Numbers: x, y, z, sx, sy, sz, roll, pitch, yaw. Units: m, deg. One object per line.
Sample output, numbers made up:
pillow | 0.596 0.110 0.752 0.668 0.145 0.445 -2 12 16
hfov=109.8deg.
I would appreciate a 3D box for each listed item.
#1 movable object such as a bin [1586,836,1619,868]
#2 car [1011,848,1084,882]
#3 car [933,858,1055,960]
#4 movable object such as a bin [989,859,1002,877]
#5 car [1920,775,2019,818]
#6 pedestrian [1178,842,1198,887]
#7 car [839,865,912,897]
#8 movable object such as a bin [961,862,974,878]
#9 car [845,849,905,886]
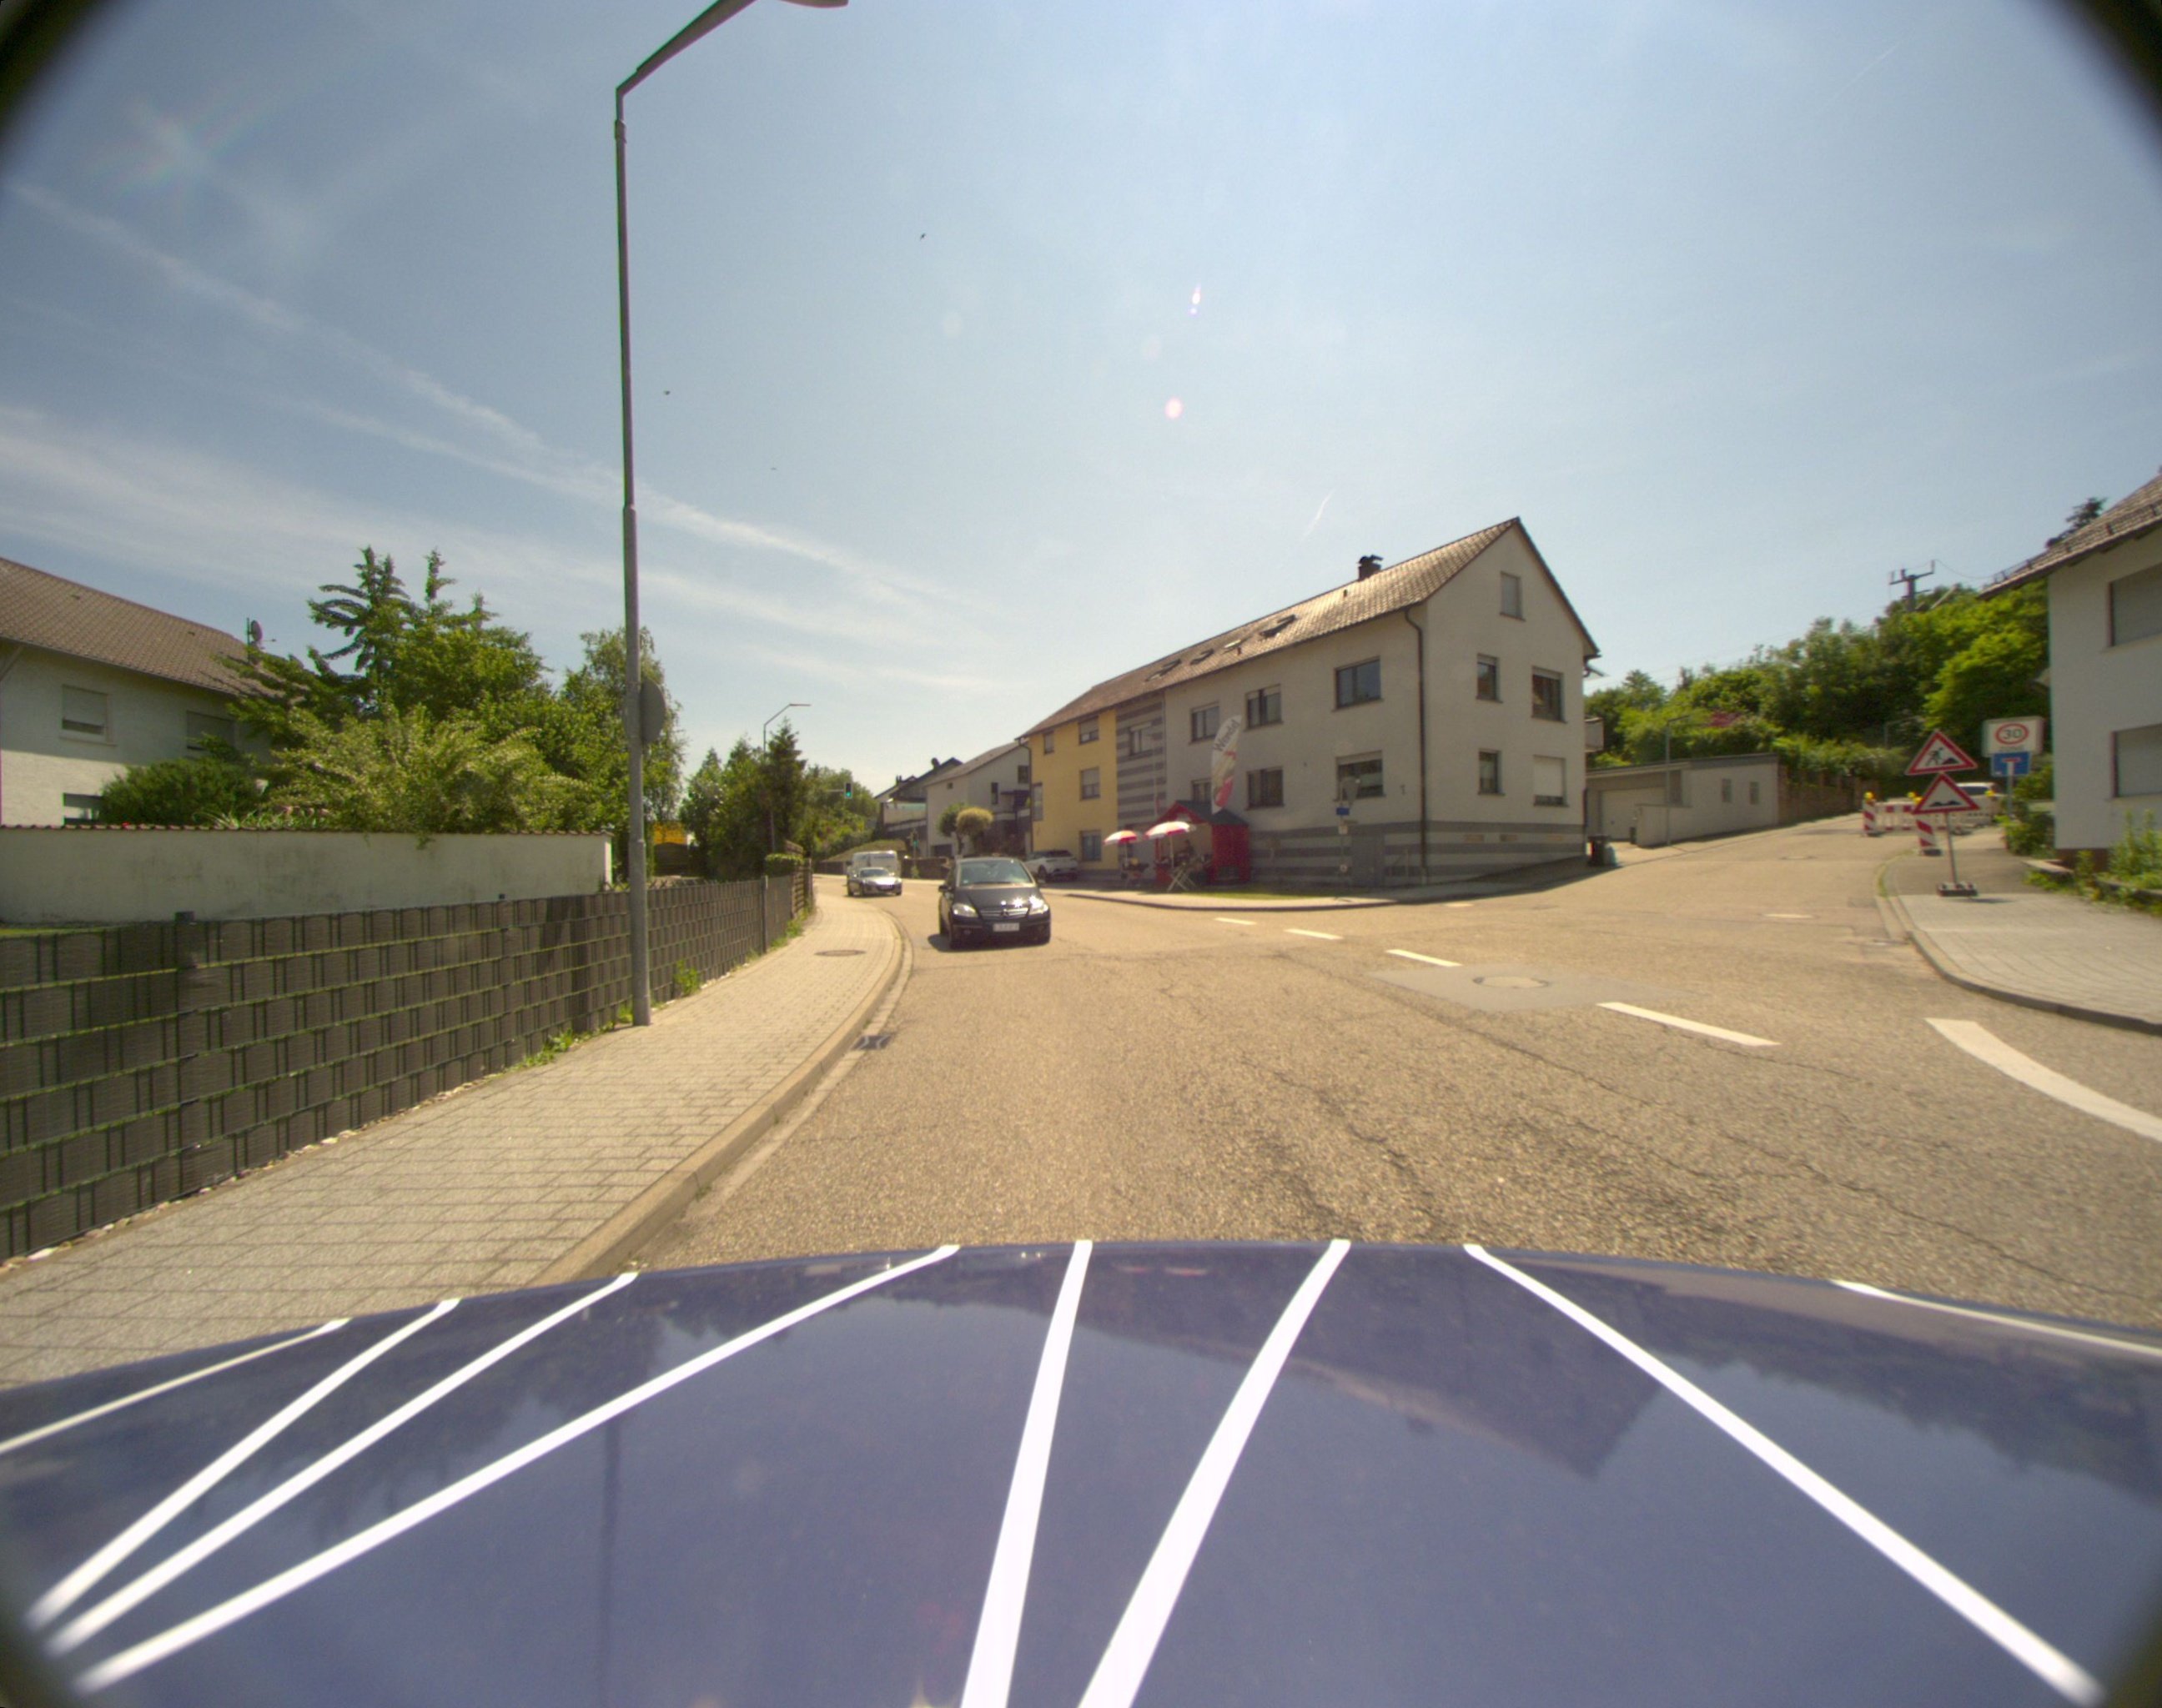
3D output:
movable object such as a bin | 15.388 -0.063 22.422 0.601 0.928 0.599 -1 1 -33
car | -1.689 0.511 36.790 1.738 1.543 4.178 -2 1 -30
car | -1.848 0.923 14.821 1.766 1.583 4.192 -2 1 -14
movable object such as a bin | -5.099 0.857 45.298 0.473 1.049 0.632 -3 1 -32
car | 35.389 -2.299 30.242 4.389 1.413 1.905 -5 2 -32
pedestrian | 3.848 0.360 27.313 0.612 1.578 0.809 -1 1 2
car | -9.134 1.157 33.613 1.818 1.306 3.990 -2 0 -35
movable object such as a bin | -6.633 0.927 44.408 0.503 0.942 0.552 -2 1 -32
car | -12.318 0.733 45.186 2.003 1.988 5.201 -4 2 -31
